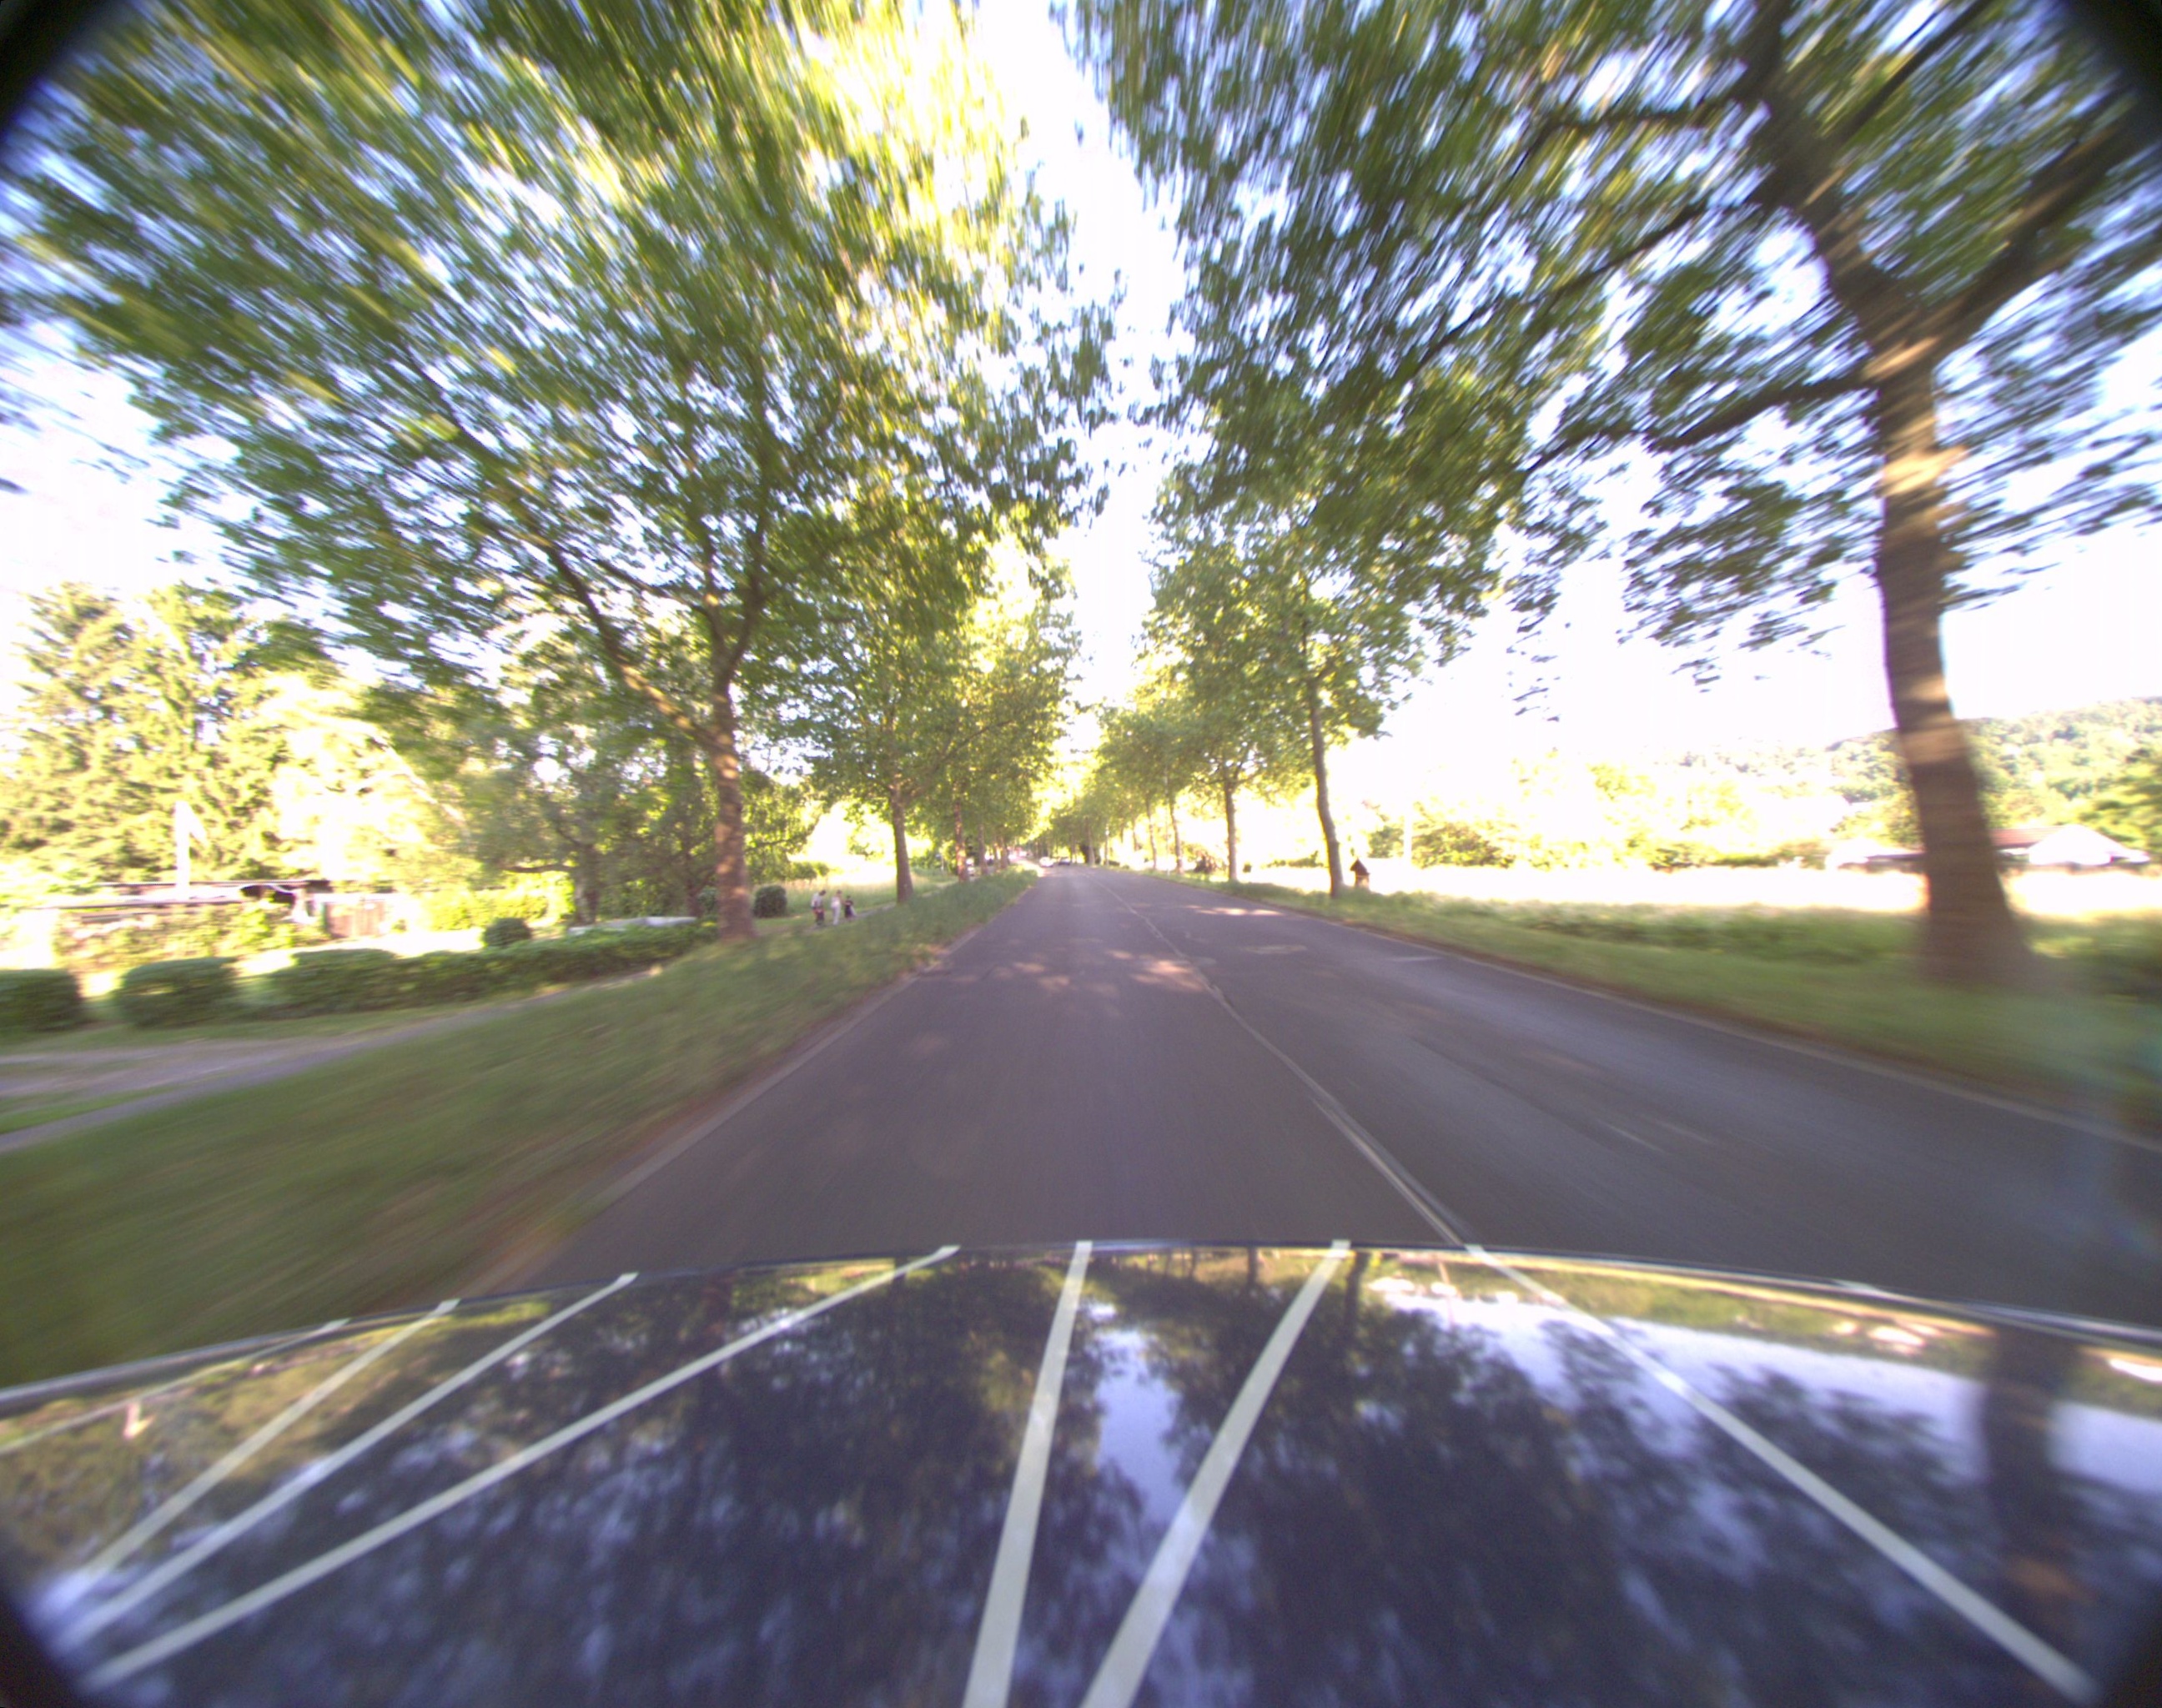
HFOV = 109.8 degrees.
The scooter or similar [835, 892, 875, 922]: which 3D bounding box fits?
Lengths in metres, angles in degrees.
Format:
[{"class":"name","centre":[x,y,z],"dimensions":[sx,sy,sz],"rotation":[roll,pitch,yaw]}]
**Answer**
[{"class":"scooter or similar","centre":[-9.422,2.202,31.738],"dimensions":[0.340,1.128,1.602],"rotation":[-1,2,45]}]

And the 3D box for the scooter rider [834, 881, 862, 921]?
[{"class":"scooter rider","centre":[-9.658,1.951,31.466],"dimensions":[0.846,1.567,0.783],"rotation":[-3,2,-32]}]

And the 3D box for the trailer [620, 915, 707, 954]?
[{"class":"trailer","centre":[-13.486,2.584,24.594],"dimensions":[2.122,1.046,1.201],"rotation":[-2,1,3]}]

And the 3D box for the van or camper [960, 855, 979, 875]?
[{"class":"van or camper","centre":[-16.908,1.599,115.806],"dimensions":[2.387,2.784,5.682],"rotation":[-2,1,-5]}]

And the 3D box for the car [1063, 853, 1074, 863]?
[{"class":"car","centre":[-2.063,0.720,125.488],"dimensions":[1.720,1.496,3.998],"rotation":[-2,1,-3]}]

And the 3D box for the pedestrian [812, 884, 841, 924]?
[{"class":"pedestrian","centre":[-10.362,2.025,30.954],"dimensions":[0.846,1.567,0.783],"rotation":[-3,2,-35]}]

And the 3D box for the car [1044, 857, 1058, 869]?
[{"class":"car","centre":[-4.436,1.295,111.991],"dimensions":[1.999,1.655,3.998],"rotation":[-2,1,-3]}]

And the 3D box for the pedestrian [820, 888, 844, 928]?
[{"class":"pedestrian","centre":[-10.548,2.268,32.219],"dimensions":[0.845,1.567,1.205],"rotation":[-3,1,-15]}]
